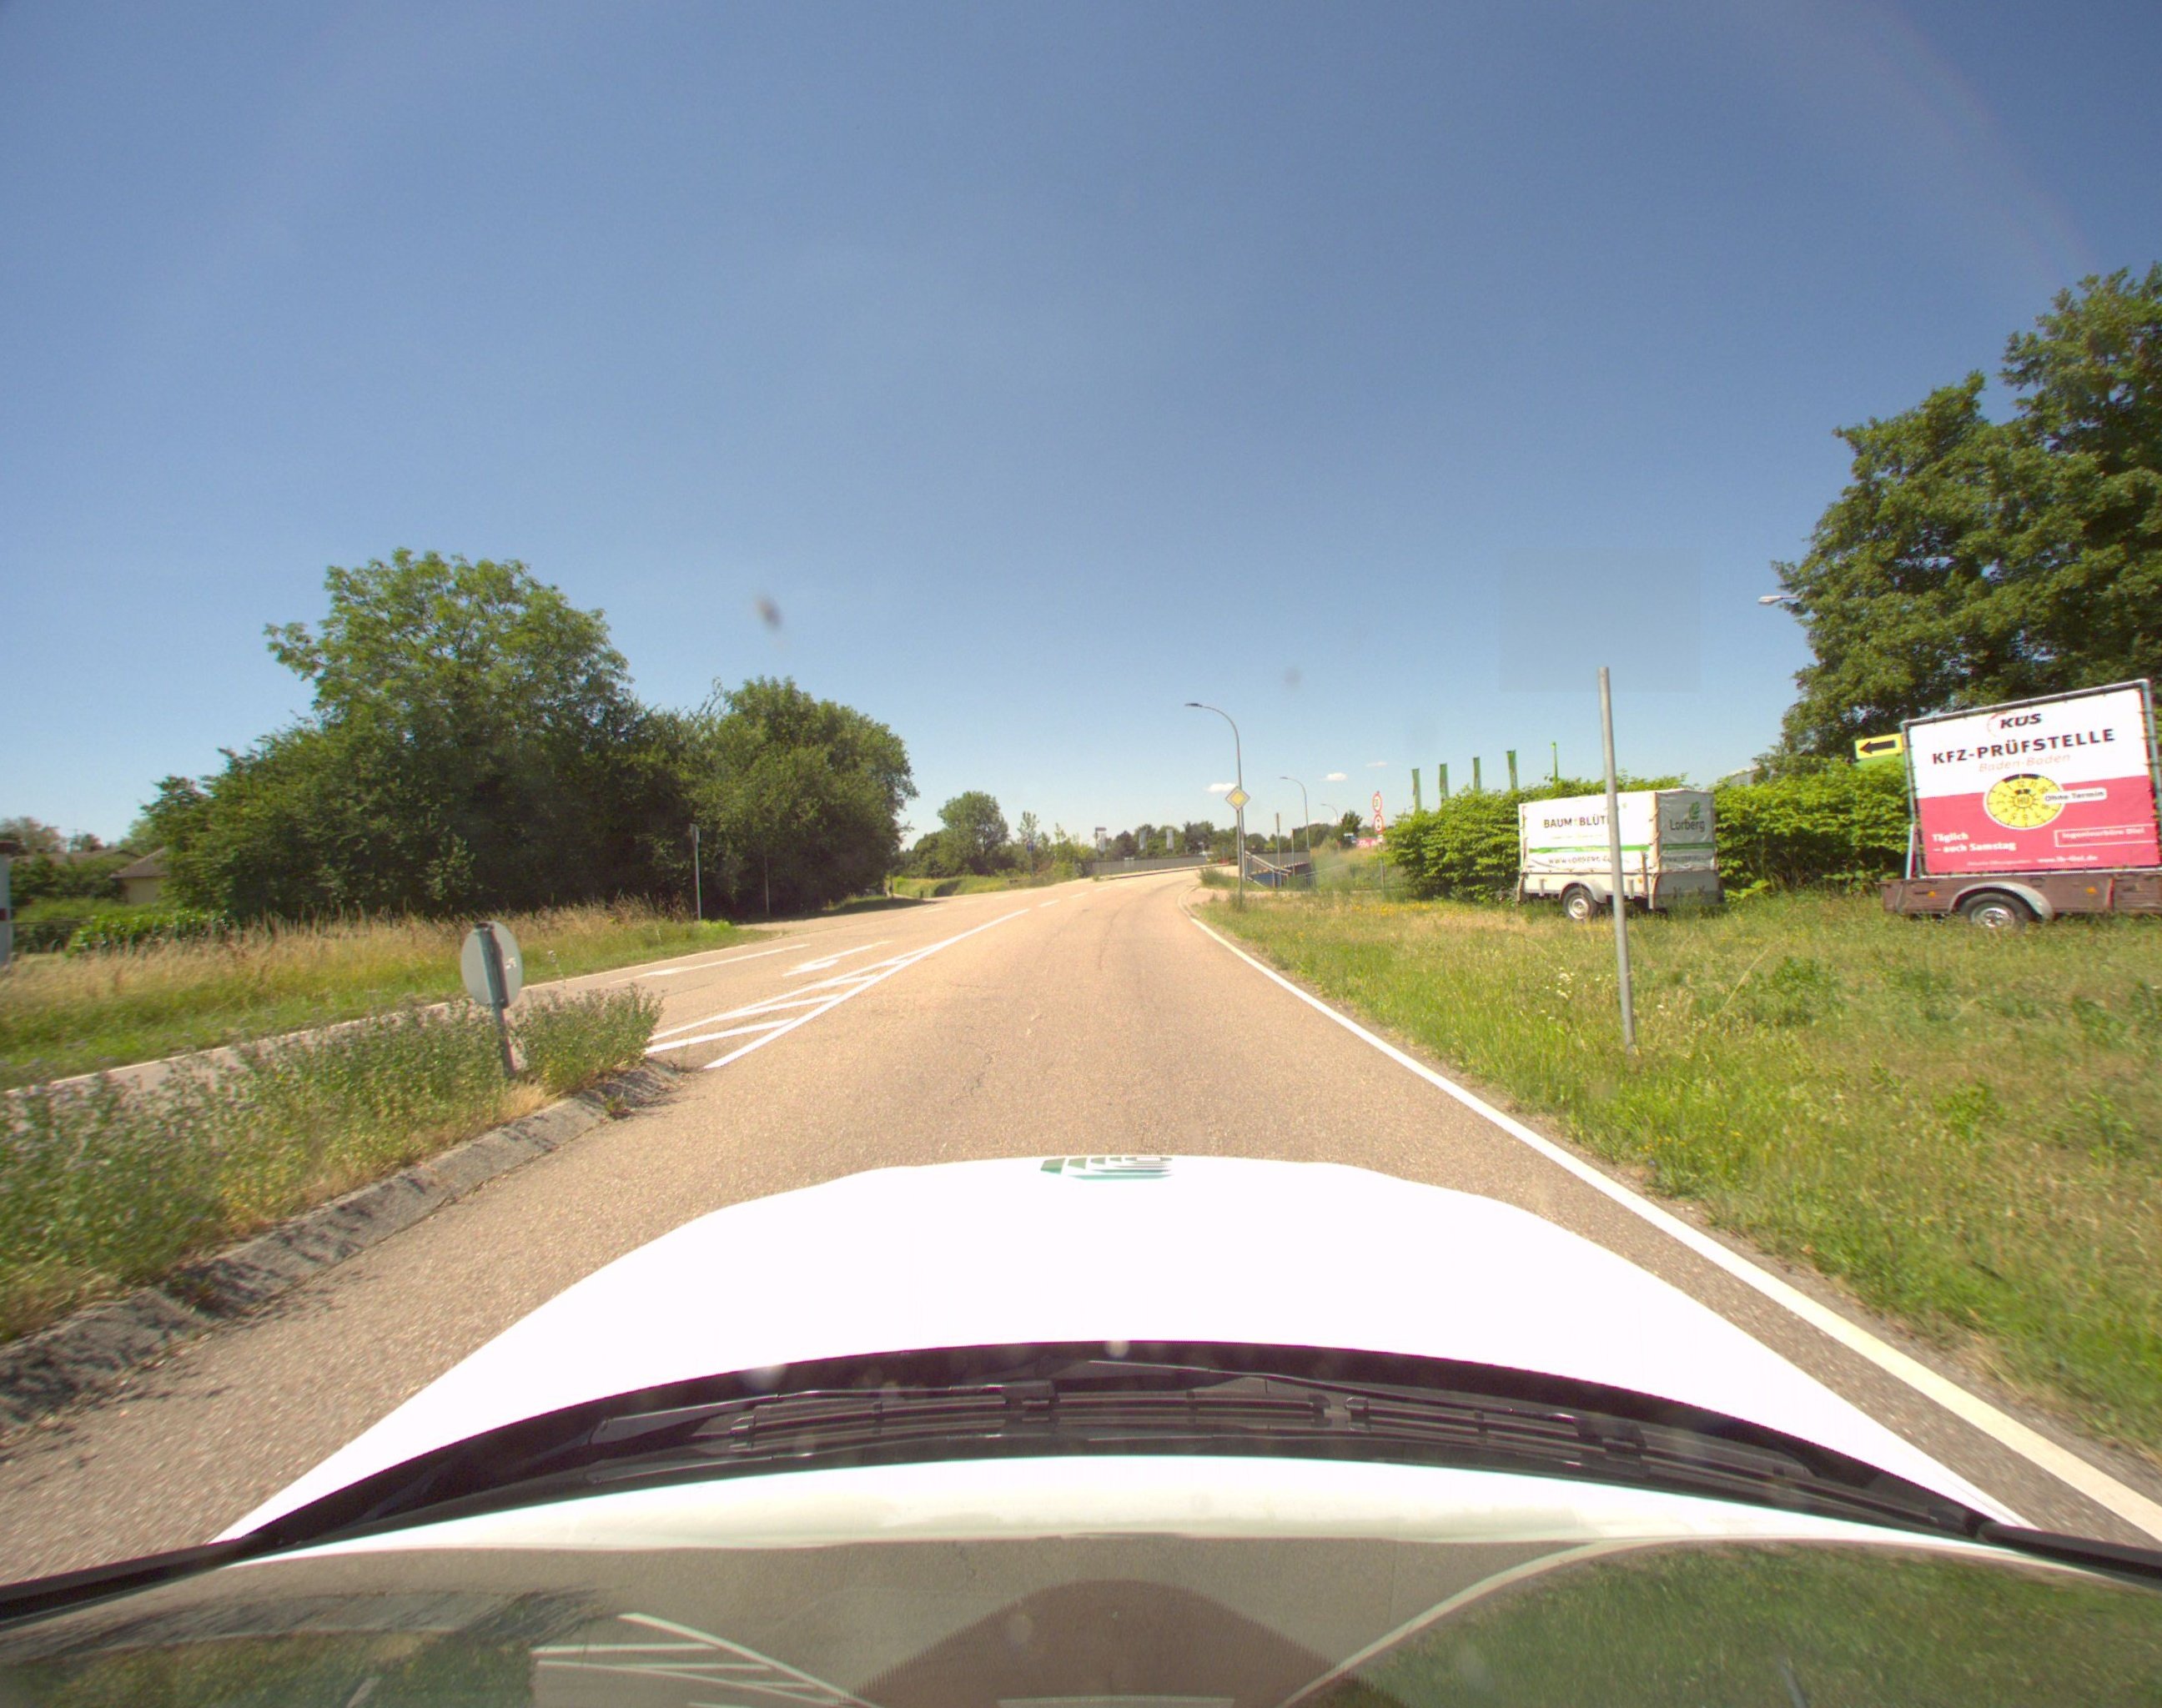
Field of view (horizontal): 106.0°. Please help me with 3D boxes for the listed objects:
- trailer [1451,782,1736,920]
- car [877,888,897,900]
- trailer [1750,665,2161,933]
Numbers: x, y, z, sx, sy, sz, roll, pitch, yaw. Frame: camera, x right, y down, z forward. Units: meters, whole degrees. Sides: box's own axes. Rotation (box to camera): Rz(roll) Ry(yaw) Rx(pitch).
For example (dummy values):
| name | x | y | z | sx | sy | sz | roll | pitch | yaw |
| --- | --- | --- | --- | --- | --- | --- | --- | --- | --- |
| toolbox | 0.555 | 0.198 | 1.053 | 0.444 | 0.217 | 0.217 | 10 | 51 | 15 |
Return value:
| name | x | y | z | sx | sy | sz | roll | pitch | yaw |
| --- | --- | --- | --- | --- | --- | --- | --- | --- | --- |
| trailer | 8.881 | -0.016 | 14.538 | 1.852 | 2.078 | 3.943 | -2 | -1 | -20 |
| car | -27.537 | 5.633 | 115.490 | 2.002 | 1.596 | 3.970 | -4 | -1 | -22 |
| trailer | 10.517 | -0.536 | 9.869 | 1.852 | 2.670 | 3.126 | -2 | -1 | -20 |
